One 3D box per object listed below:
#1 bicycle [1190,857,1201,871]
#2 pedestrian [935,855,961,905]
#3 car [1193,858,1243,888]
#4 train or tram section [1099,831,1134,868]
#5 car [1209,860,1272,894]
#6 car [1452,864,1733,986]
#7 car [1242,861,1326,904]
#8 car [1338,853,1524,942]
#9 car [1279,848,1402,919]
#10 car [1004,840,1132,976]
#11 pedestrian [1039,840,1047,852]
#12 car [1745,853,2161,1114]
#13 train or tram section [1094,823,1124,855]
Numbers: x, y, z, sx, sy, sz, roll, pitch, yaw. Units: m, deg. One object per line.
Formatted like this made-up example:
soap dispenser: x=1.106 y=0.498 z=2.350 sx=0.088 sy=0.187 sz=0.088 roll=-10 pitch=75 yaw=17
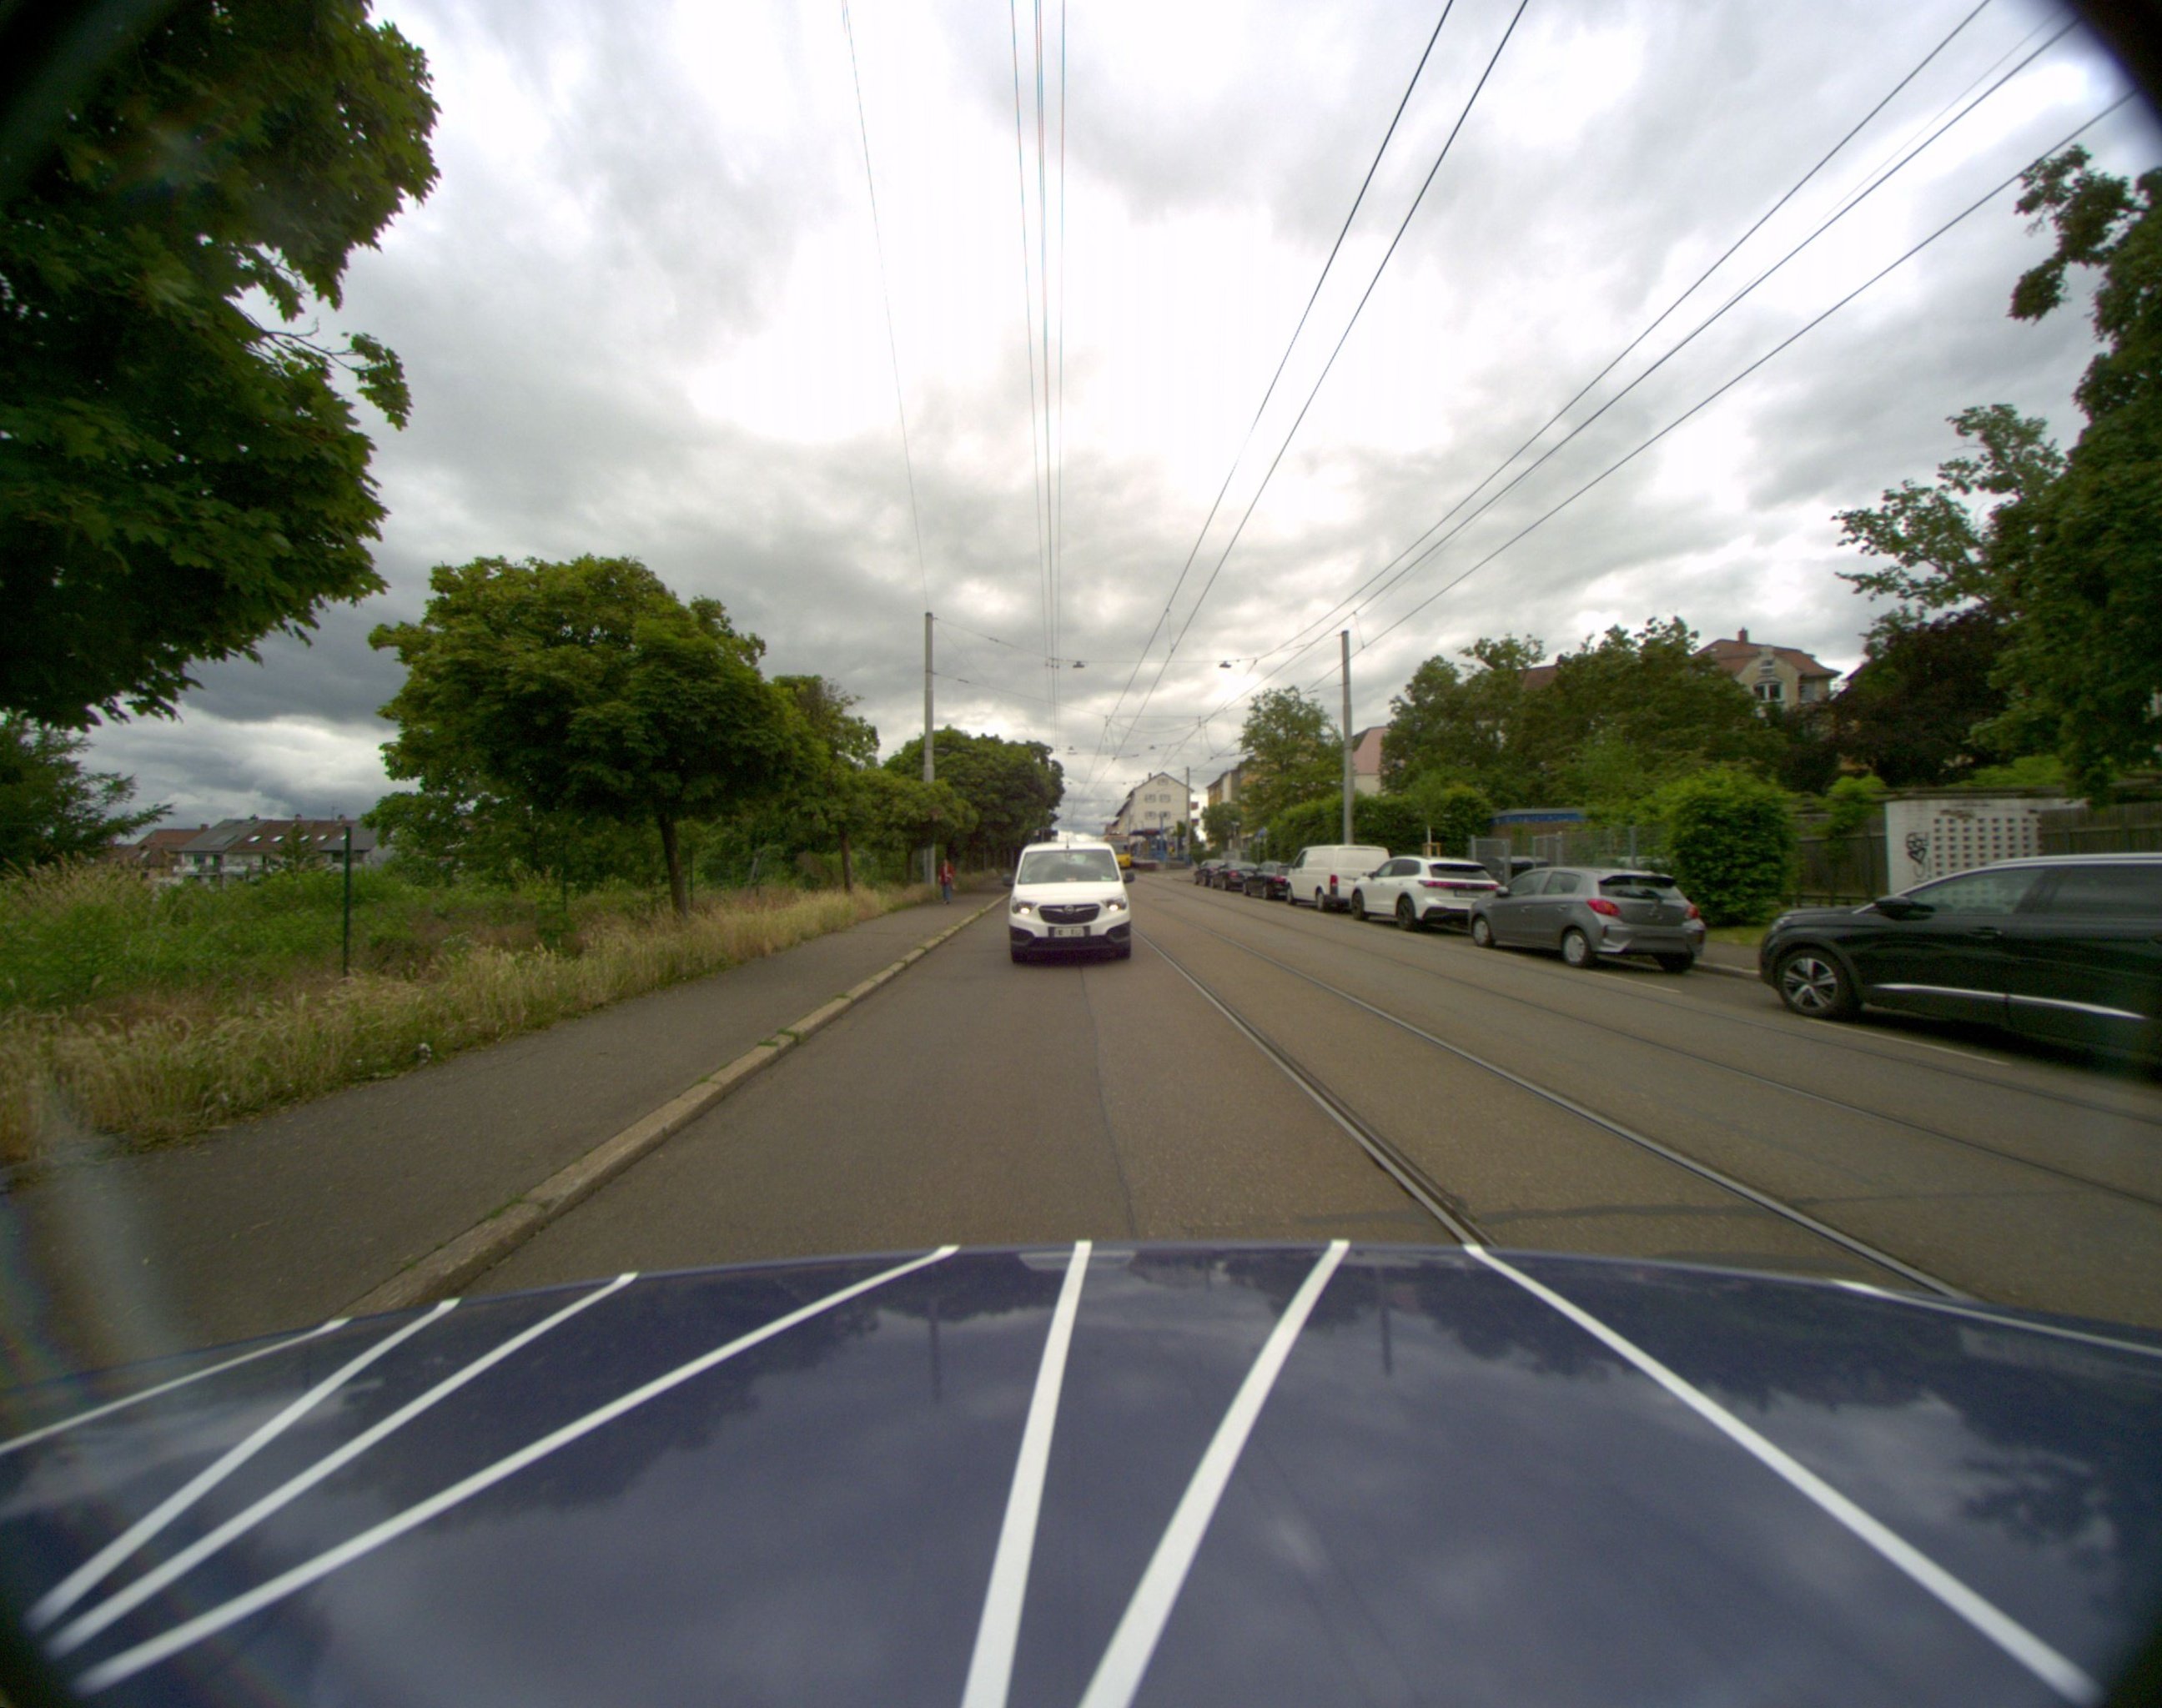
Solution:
bicycle: x=9.917 y=0.861 z=66.041 sx=0.713 sy=1.174 sz=1.487 roll=0 pitch=1 yaw=-1
pedestrian: x=-4.398 y=0.847 z=25.217 sx=0.716 sy=1.611 sz=0.718 roll=-1 pitch=1 yaw=-1
car: x=7.319 y=0.997 z=41.036 sx=1.795 sy=1.396 sz=4.159 roll=0 pitch=1 yaw=-2
train or tram section: x=3.688 y=-0.545 z=81.210 sx=2.857 sy=3.615 sz=12.126 roll=-1 pitch=1 yaw=-1
car: x=7.318 y=1.015 z=35.329 sx=1.845 sy=1.379 sz=4.438 roll=0 pitch=1 yaw=-2
car: x=7.792 y=0.970 z=12.096 sx=1.743 sy=1.500 sz=3.867 roll=0 pitch=1 yaw=-2
car: x=7.612 y=1.033 z=28.964 sx=1.845 sy=1.379 sz=4.516 roll=0 pitch=1 yaw=-2
car: x=7.777 y=0.874 z=17.486 sx=1.974 sy=1.677 sz=4.631 roll=0 pitch=1 yaw=-2
car: x=7.746 y=0.792 z=23.265 sx=1.974 sy=1.902 sz=4.733 roll=0 pitch=1 yaw=-2
car: x=-0.178 y=0.730 z=12.664 sx=1.730 sy=1.850 sz=4.420 roll=-1 pitch=0 yaw=0
pedestrian: x=-3.986 y=-0.833 z=79.237 sx=0.781 sy=1.307 sz=0.656 roll=-1 pitch=1 yaw=-1
car: x=8.153 y=0.879 z=5.901 sx=1.974 sy=1.677 sz=4.442 roll=0 pitch=1 yaw=-2
train or tram section: x=3.342 y=-1.828 z=93.341 sx=2.831 sy=3.615 sz=12.126 roll=-1 pitch=1 yaw=-2
